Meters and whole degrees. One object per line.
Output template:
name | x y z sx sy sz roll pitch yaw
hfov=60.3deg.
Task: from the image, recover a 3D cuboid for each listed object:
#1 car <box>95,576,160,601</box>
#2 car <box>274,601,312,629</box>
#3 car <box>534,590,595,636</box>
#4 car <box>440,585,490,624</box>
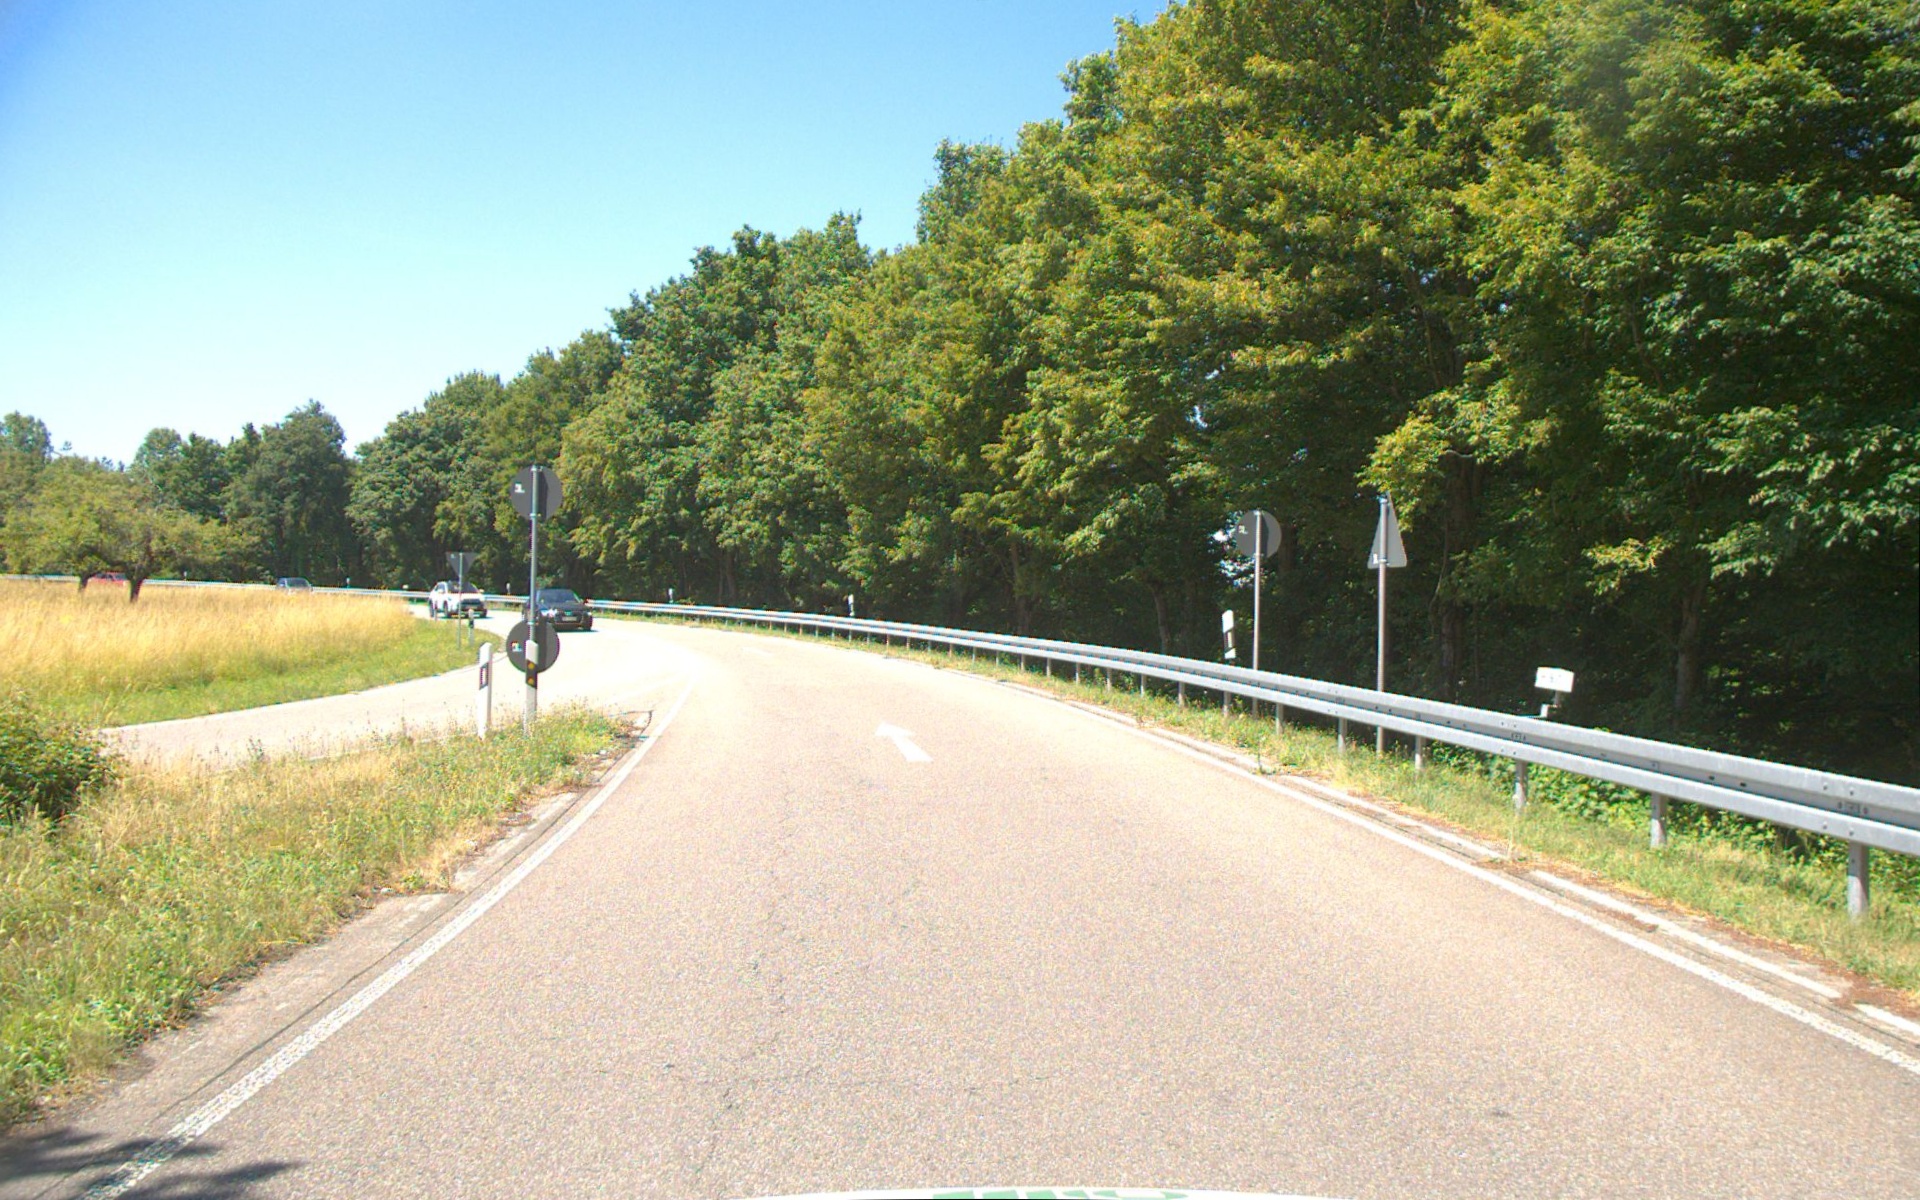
car | -57.356 -0.810 113.951 4.302 1.483 1.826 -3 0 28
car | -38.859 0.871 96.268 1.714 1.533 4.037 1 -1 -26
car | -14.074 0.443 58.759 1.774 1.533 4.635 -2 0 -17
car | -22.240 0.211 74.238 1.796 1.618 4.192 -3 0 -20
